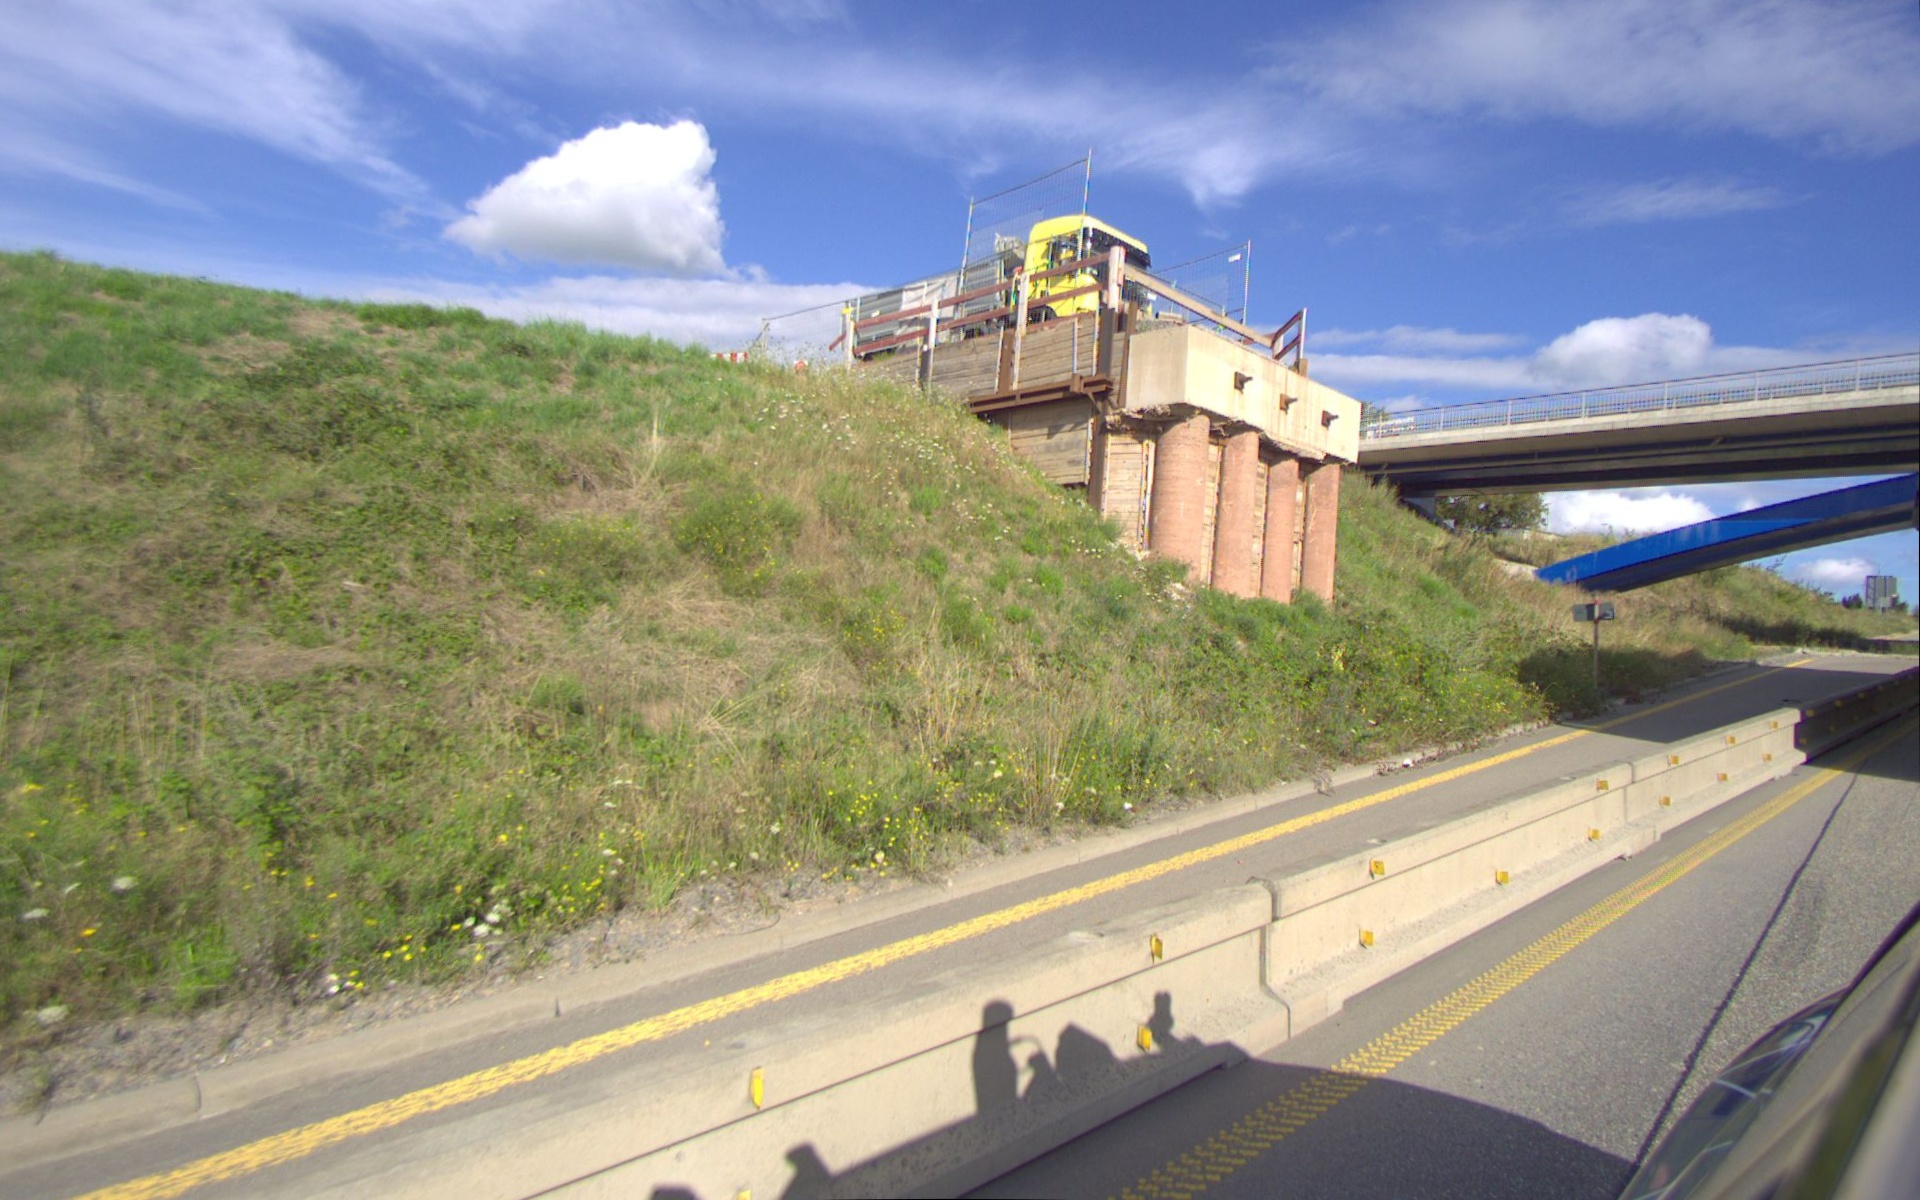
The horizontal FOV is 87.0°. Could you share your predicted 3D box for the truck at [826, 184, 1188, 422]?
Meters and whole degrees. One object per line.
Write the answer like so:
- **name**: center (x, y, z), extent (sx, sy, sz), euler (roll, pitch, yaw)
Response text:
- **truck**: center (0.674, -6.557, 24.105), extent (2.909, 3.268, 9.276), euler (1, 1, -42)
